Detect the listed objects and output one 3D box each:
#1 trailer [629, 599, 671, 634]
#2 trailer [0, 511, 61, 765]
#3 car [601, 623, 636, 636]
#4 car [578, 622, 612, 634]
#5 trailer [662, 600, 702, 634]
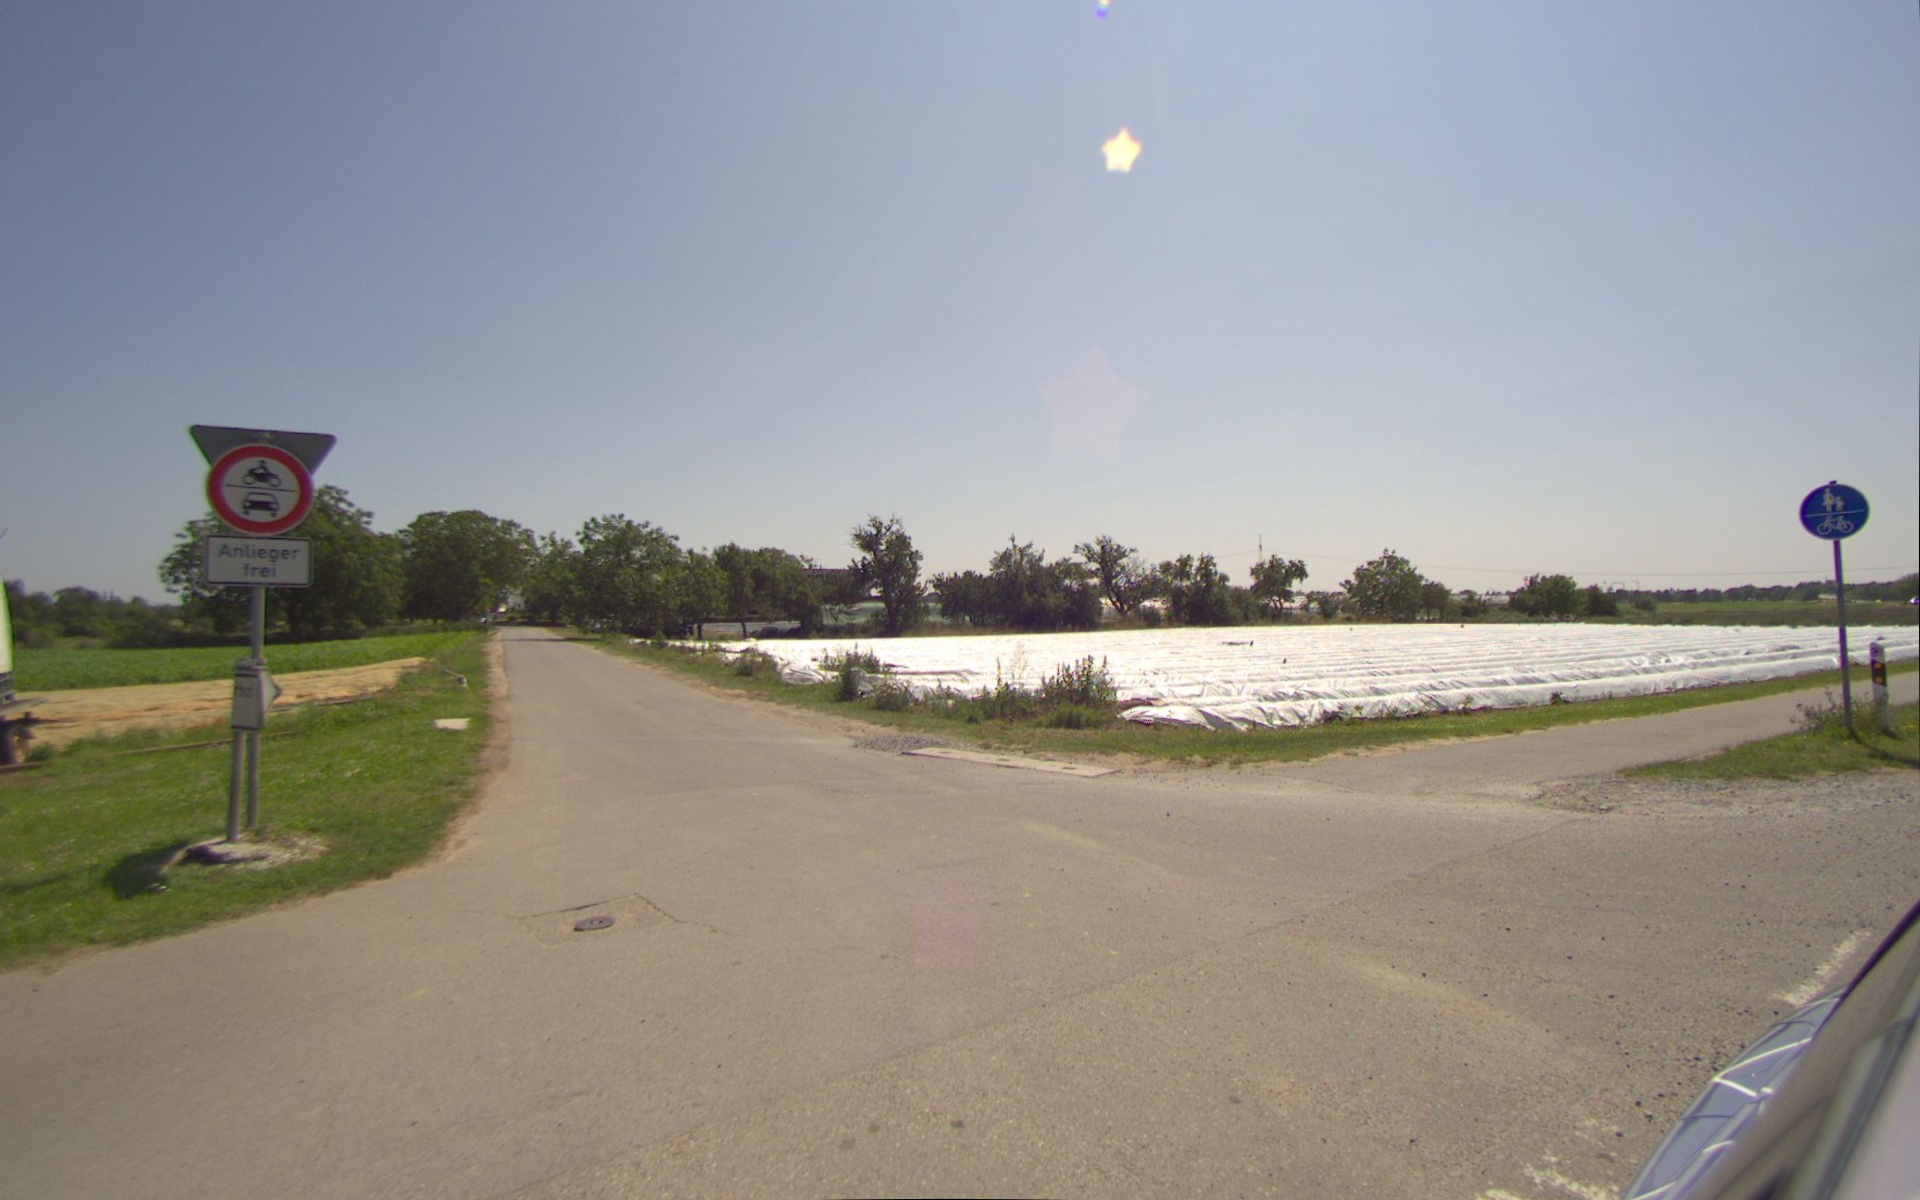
[{"bbox_3d":[-40.283,2.194,131.216,3.097,4.275,7.440,-1,-1,-34],"label":"trailer"},{"bbox_3d":[-11.852,0.475,10.815,1.959,2.989,5.303,-2,1,-27],"label":"trailer"},{"bbox_3d":[-34.730,2.969,102.935,3.214,1.213,1.297,0,-1,-31],"label":"car"},{"bbox_3d":[-38.852,2.996,107.643,3.214,1.213,1.297,0,-1,-31],"label":"car"},{"bbox_3d":[-29.011,1.809,105.270,3.191,3.336,7.454,-1,-1,-21],"label":"trailer"}]
